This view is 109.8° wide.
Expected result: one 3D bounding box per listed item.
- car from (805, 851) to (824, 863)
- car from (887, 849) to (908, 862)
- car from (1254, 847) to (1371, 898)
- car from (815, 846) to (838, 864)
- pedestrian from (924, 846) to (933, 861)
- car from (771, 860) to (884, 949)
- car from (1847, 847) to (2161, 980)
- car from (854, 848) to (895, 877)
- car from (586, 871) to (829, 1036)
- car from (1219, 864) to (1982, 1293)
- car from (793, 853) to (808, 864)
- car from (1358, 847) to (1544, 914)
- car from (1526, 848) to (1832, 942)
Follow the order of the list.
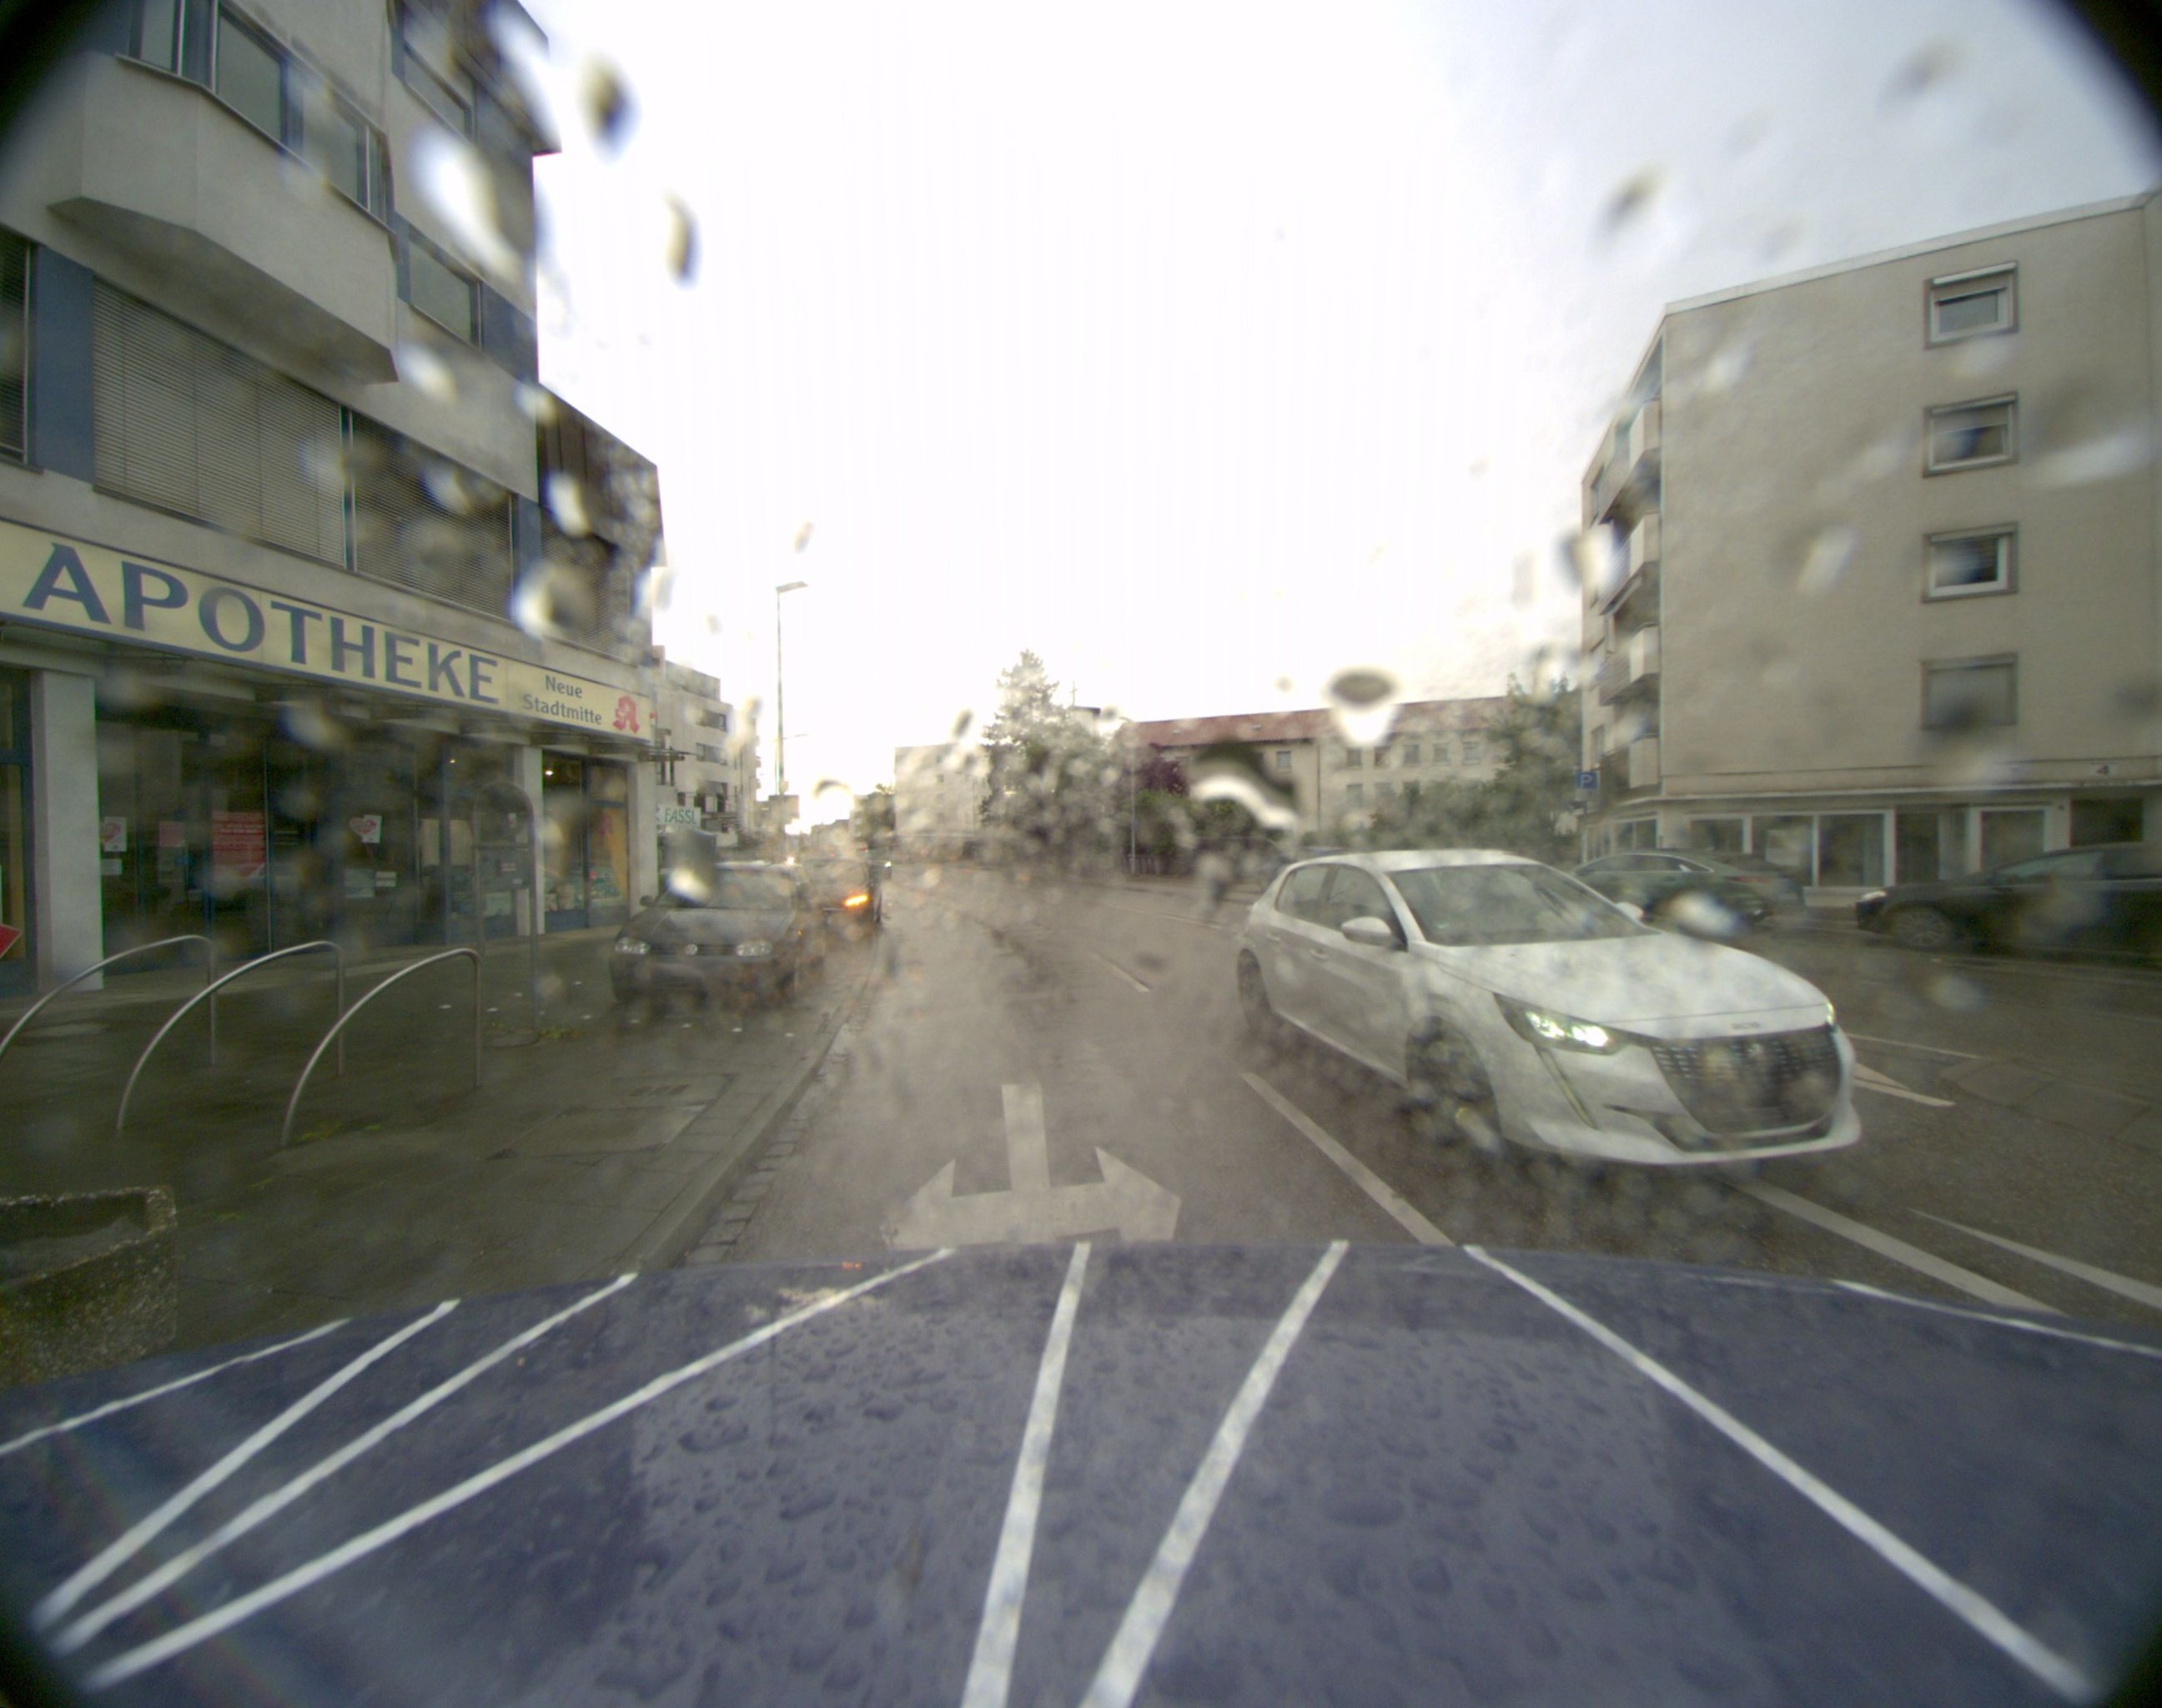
[{"bbox_3d":[-31.325,0.347,89.260,1.804,1.361,3.964,-1,2,-24],"label":"car"},{"bbox_3d":[-21.003,0.123,86.927,1.874,1.428,3.733,-1,1,-20],"label":"car"},{"bbox_3d":[7.444,0.533,24.791,1.636,1.497,3.873,-1,1,-20],"label":"car"},{"bbox_3d":[-22.916,0.073,68.308,1.736,1.519,4.056,-1,0,-21],"label":"car"},{"bbox_3d":[-17.848,-0.058,88.861,0.857,1.726,0.834,-1,2,-29],"label":"pedestrian"},{"bbox_3d":[-4.803,0.857,14.860,1.660,1.416,3.995,-1,1,-12],"label":"car"},{"bbox_3d":[12.920,0.674,9.606,1.839,1.451,4.180,-2,2,-21],"label":"car"},{"bbox_3d":[-11.356,0.441,41.695,1.737,1.436,4.039,-2,2,-21],"label":"car"},{"bbox_3d":[-4.007,0.948,8.789,1.656,1.364,3.727,1,0,-12],"label":"car"},{"bbox_3d":[2.380,0.837,4.781,1.744,1.401,3.892,-3,1,-9],"label":"car"},{"bbox_3d":[-42.312,0.696,114.815,2.001,1.606,3.993,-3,1,-19],"label":"car"},{"bbox_3d":[9.274,0.579,19.472,1.639,1.491,4.338,-1,1,-21],"label":"car"},{"bbox_3d":[11.144,0.646,14.572,1.839,1.426,4.266,-2,2,-21],"label":"car"}]
